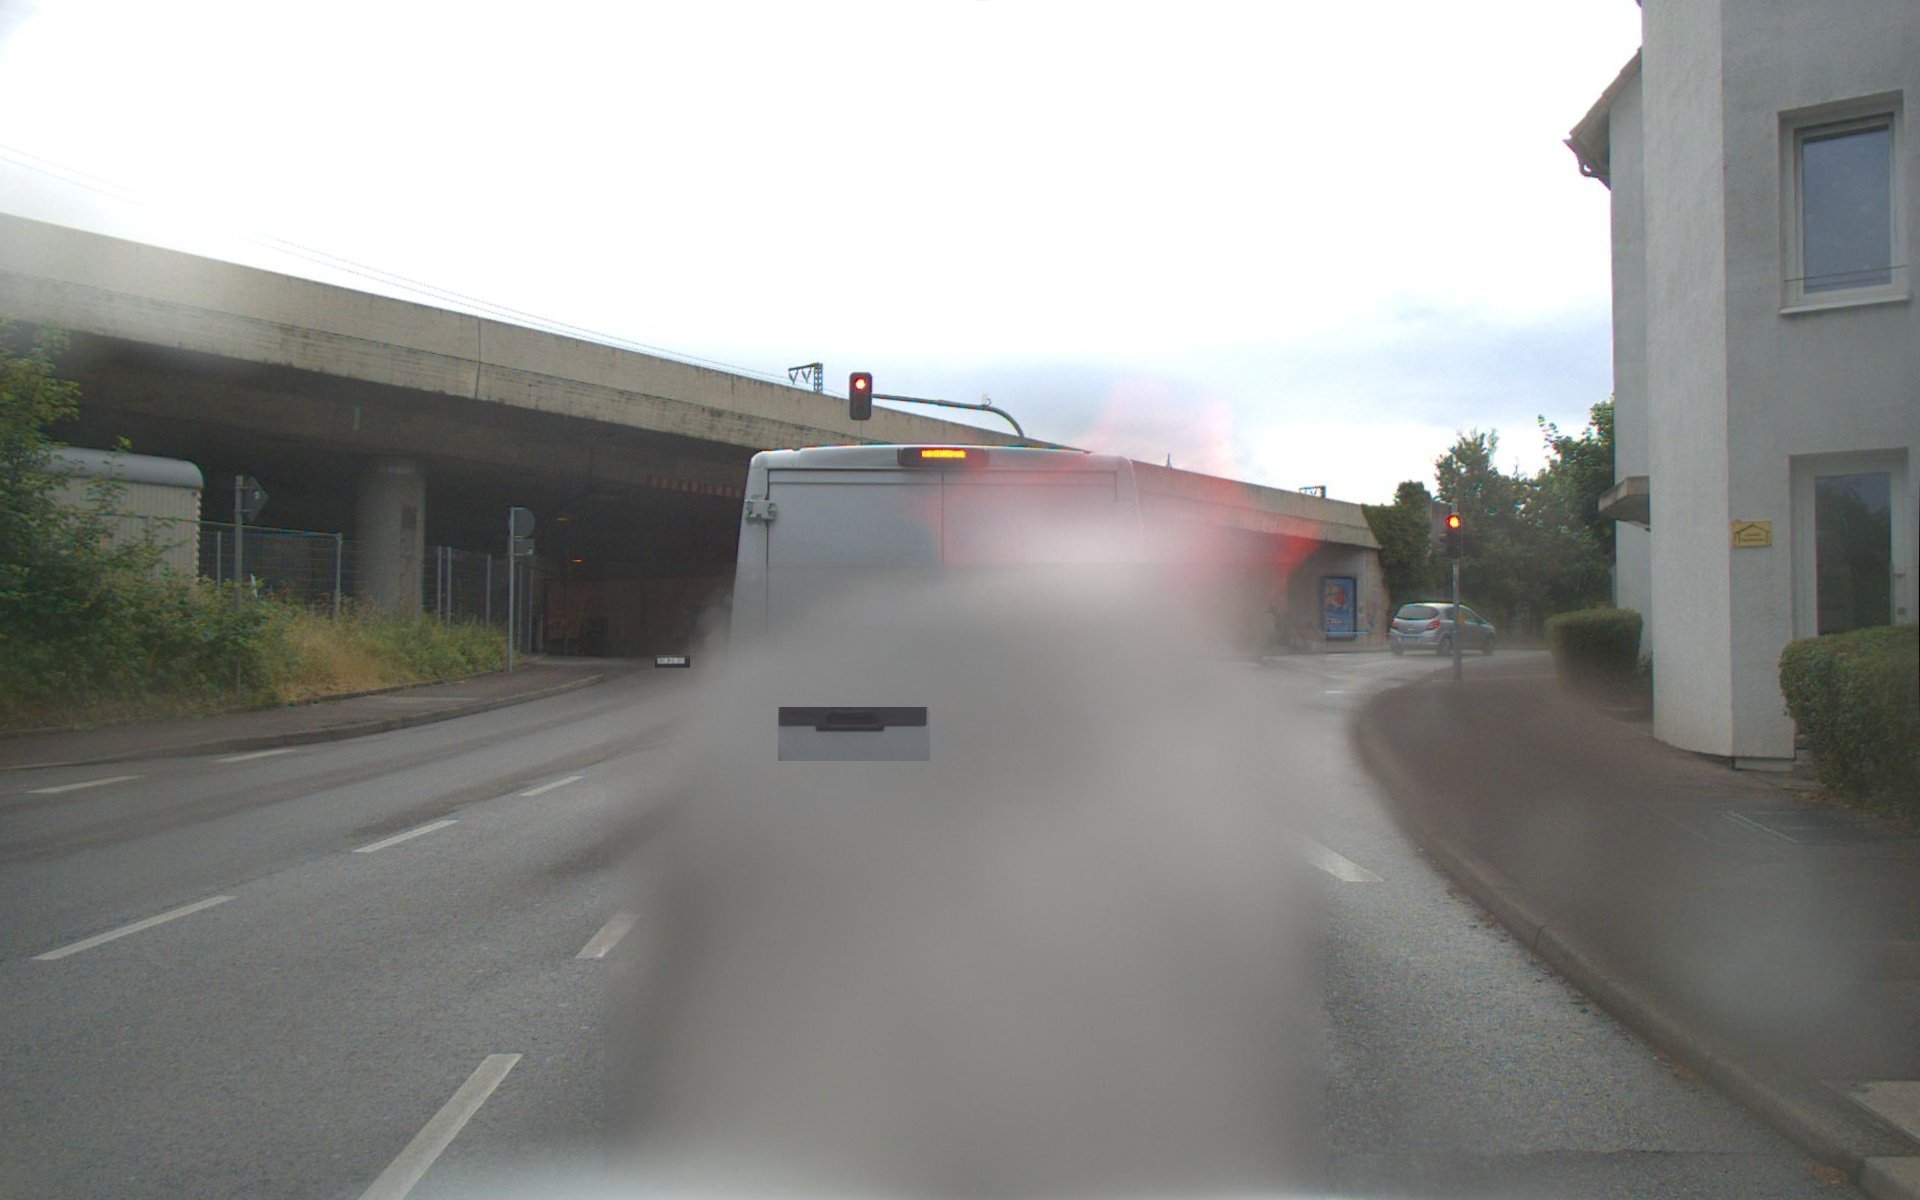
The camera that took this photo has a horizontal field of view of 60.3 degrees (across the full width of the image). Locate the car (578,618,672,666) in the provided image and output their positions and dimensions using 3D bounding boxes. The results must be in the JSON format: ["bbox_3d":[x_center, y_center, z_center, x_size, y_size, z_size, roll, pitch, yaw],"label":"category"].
[{"bbox_3d":[-11.227,1.397,55.266,1.972,1.545,3.960,1,-2,-29],"label":"car"}]

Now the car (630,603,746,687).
[{"bbox_3d":[-5.492,0.874,33.884,1.805,1.597,4.410,0,0,-2],"label":"car"}]

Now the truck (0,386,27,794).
[{"bbox_3d":[-9.097,-0.132,9.797,2.556,3.294,7.777,0,-1,1],"label":"truck"}]

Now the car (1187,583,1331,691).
[{"bbox_3d":[4.817,0.588,26.250,1.951,1.576,4.002,0,-1,15],"label":"car"}]

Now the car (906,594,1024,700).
[{"bbox_3d":[0.159,0.835,29.737,1.952,1.759,4.001,0,-1,2],"label":"car"}]

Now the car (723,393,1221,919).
[{"bbox_3d":[0.049,0.296,10.232,2.258,2.384,5.281,1,-1,0],"label":"car"}]

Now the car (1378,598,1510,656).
[{"bbox_3d":[13.966,0.794,47.610,3.969,1.581,1.968,2,-2,-44],"label":"car"}]
